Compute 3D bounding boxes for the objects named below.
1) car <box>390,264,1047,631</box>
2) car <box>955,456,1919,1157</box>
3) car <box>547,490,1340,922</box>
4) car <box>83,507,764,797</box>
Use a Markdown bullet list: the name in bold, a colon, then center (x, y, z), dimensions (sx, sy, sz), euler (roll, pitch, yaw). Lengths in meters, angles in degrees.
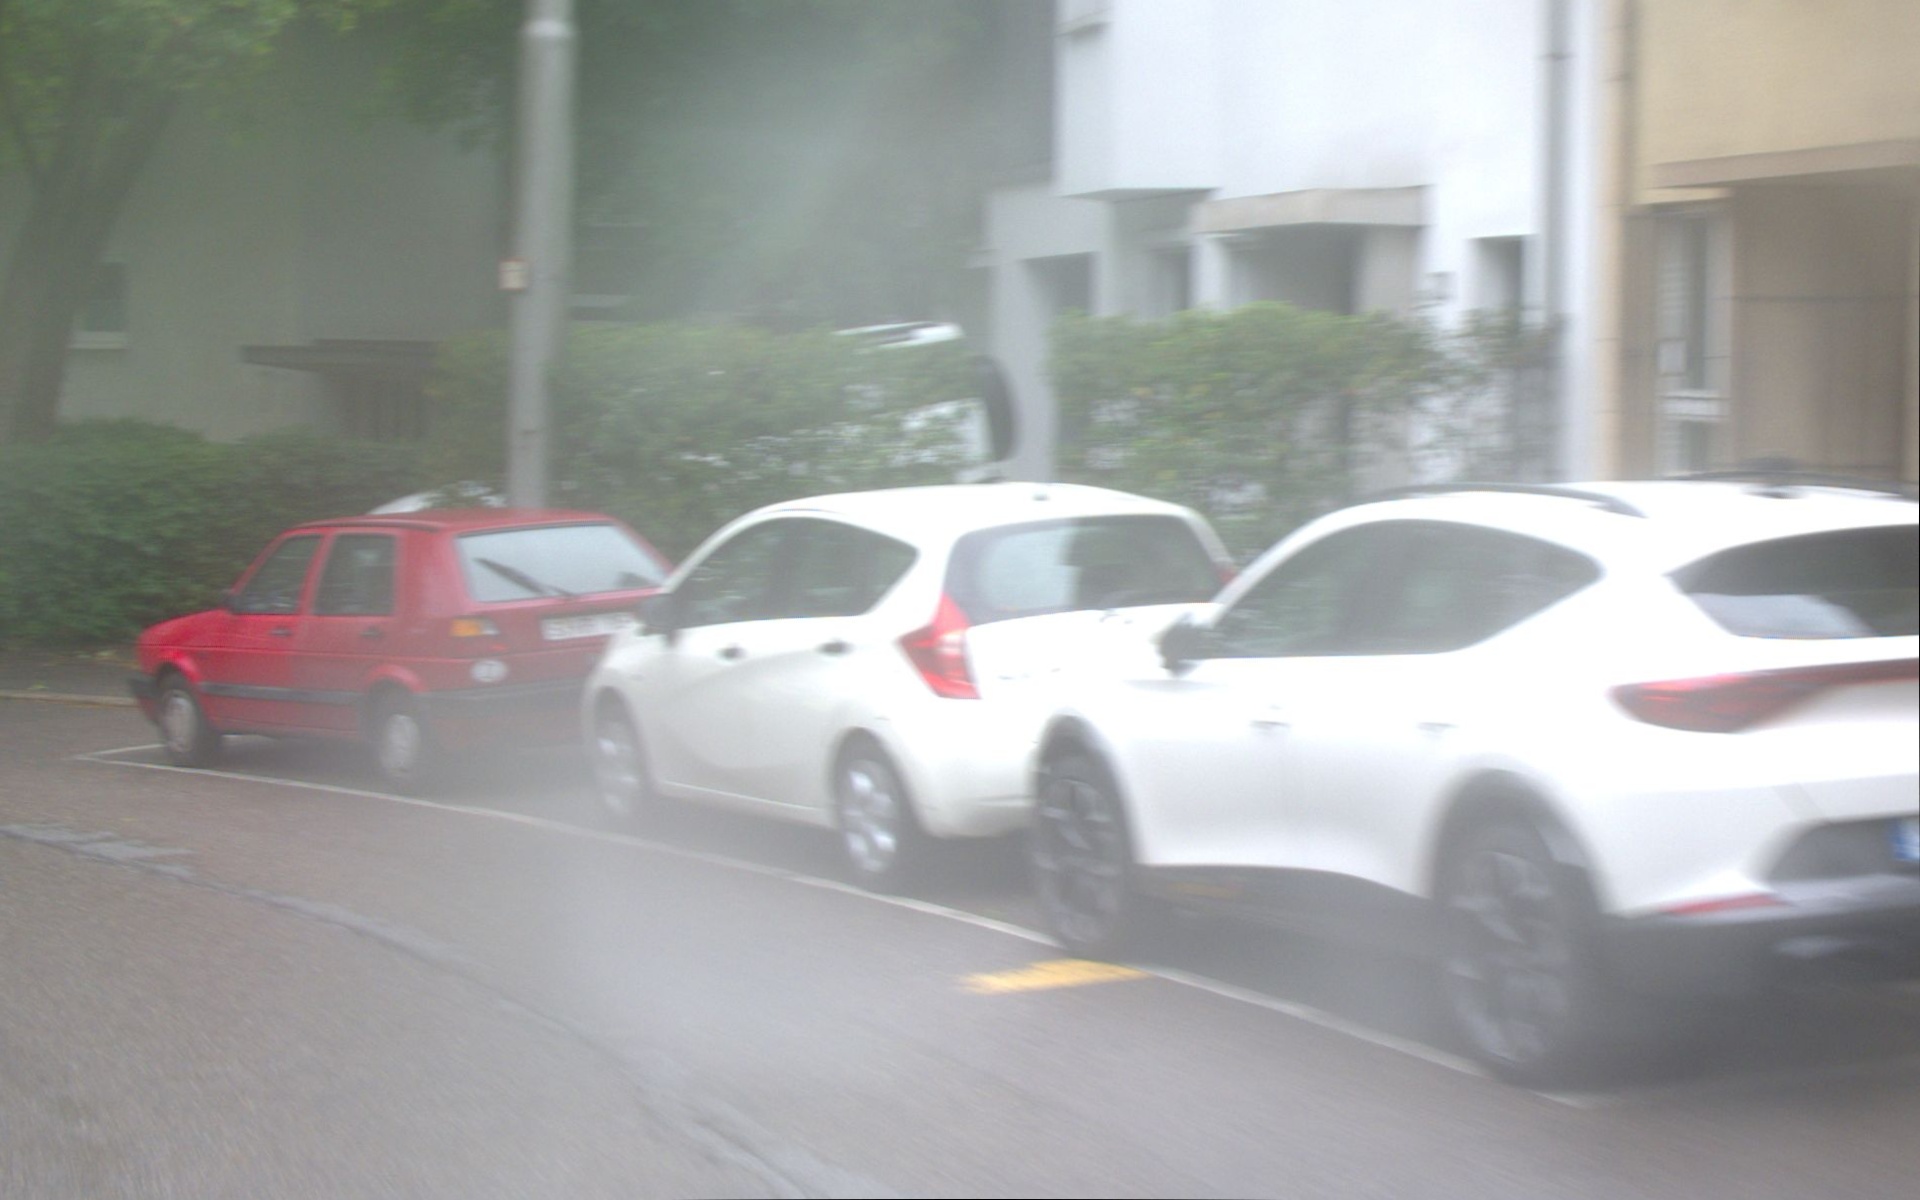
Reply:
- **car**: center (-1.835, -1.159, 25.400), dimensions (4.395, 1.836, 2.001), euler (-11, 5, -10)
- **car**: center (1.723, 0.403, 9.989), dimensions (1.913, 1.533, 4.416), euler (-3, 1, -22)
- **car**: center (-0.216, 0.332, 14.501), dimensions (1.765, 1.510, 3.824), euler (-3, 2, -27)
- **car**: center (-3.052, 0.246, 18.888), dimensions (1.781, 1.362, 4.194), euler (-3, 2, -39)
